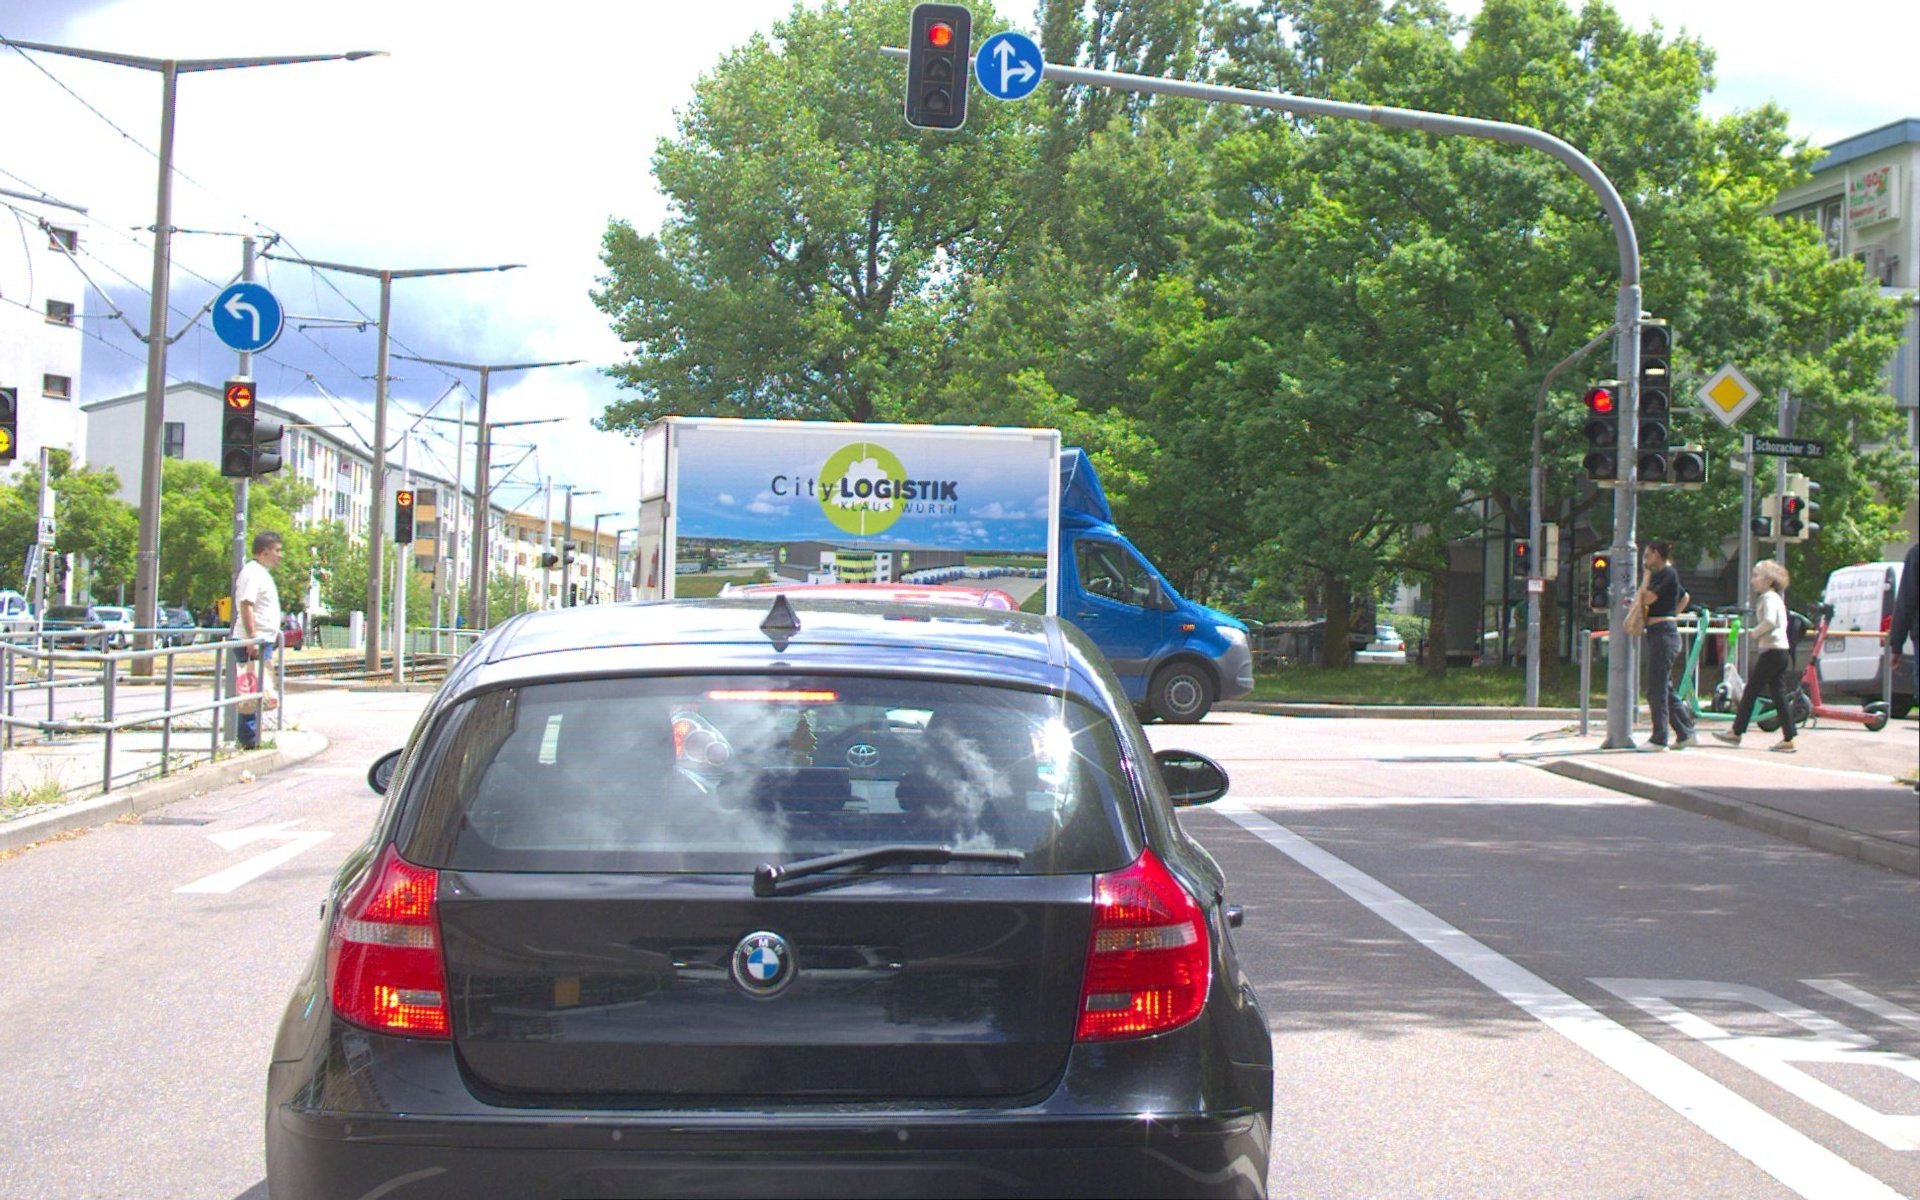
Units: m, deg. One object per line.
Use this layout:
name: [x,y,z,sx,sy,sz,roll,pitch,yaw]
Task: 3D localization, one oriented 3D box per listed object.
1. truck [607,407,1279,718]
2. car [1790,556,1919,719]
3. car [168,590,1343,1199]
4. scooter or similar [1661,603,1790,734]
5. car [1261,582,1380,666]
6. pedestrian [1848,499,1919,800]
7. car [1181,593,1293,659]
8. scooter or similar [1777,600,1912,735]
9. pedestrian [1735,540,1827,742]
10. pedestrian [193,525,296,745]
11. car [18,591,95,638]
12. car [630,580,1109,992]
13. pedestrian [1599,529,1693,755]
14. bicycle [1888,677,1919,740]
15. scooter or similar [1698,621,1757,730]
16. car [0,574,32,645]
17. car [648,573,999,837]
truck: [-0.254,-0.395,39.217,7.266,3.337,2.609,1,0,-11]
car: [12.865,0.471,41.433,5.168,1.886,2.001,1,0,-11]
car: [-0.321,0.702,6.726,1.700,1.395,3.420,1,0,-1]
scooter or similar: [7.362,0.654,33.090,1.110,1.231,0.539,1,0,2]
car: [8.337,0.545,79.786,1.726,1.865,4.001,1,0,-9]
pedestrian: [6.190,0.307,21.883,0.795,1.870,1.013,1,0,0]
car: [7.282,0.661,90.681,1.862,1.656,4.001,1,0,-11]
scooter or similar: [8.725,0.661,33.935,1.150,1.268,0.555,2,0,2]
pedestrian: [7.226,0.356,30.261,0.636,1.760,0.518,1,0,-3]
pedestrian: [-5.729,0.276,27.558,0.687,1.728,0.688,1,0,-3]
car: [-29.382,0.464,111.918,1.591,1.469,3.775,1,0,-2]
car: [-0.333,0.635,13.630,1.638,1.395,3.420,1,0,-1]
pedestrian: [5.761,0.350,28.877,0.636,1.870,0.518,1,0,-3]
bicycle: [10.216,1.080,34.679,1.587,0.608,0.534,-2,0,20]
scooter or similar: [7.797,0.754,34.897,0.548,1.060,1.261,1,0,13]
car: [-24.630,0.224,86.467,1.591,1.750,3.775,1,0,-2]
car: [-0.774,0.557,21.099,1.900,1.417,4.539,1,0,-1]
